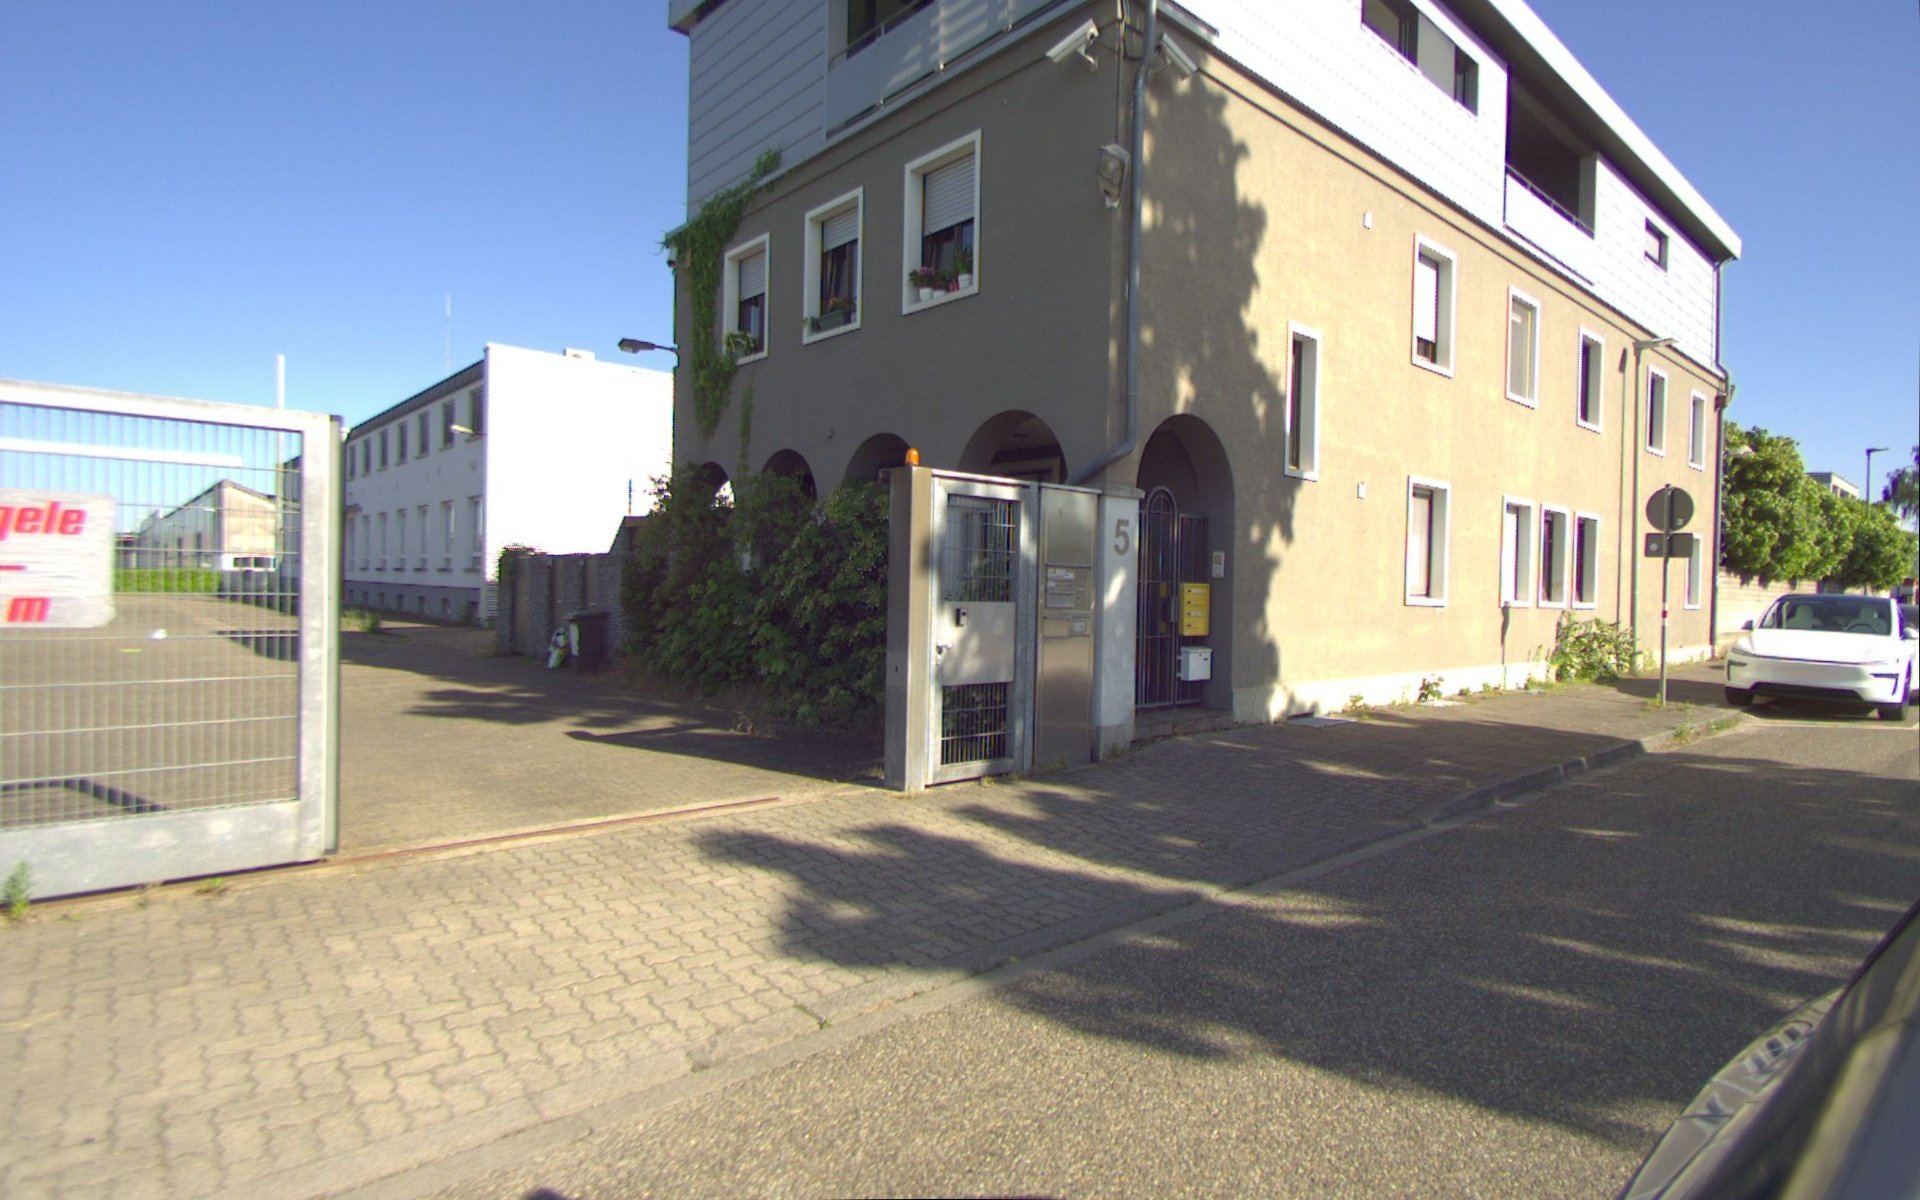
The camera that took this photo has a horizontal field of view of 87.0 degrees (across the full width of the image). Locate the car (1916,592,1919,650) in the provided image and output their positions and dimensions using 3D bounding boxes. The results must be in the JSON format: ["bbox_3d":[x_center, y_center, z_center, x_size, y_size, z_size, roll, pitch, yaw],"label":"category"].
[{"bbox_3d":[28.861,0.594,29.038,4.132,1.634,1.684,0,0,-41],"label":"car"}]

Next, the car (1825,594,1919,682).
[{"bbox_3d":[17.827,0.661,18.994,4.112,1.491,1.603,0,1,-38],"label":"car"}]

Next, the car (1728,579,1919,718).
[{"bbox_3d":[12.820,0.583,14.661,4.689,1.665,1.934,0,2,-43],"label":"car"}]

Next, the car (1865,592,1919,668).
[{"bbox_3d":[21.142,0.627,22.034,3.961,1.523,1.662,0,1,-41],"label":"car"}]

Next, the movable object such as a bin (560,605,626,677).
[{"bbox_3d":[-5.367,0.578,14.816,0.736,0.984,0.616,-2,2,-41],"label":"movable object such as a bin"}]
